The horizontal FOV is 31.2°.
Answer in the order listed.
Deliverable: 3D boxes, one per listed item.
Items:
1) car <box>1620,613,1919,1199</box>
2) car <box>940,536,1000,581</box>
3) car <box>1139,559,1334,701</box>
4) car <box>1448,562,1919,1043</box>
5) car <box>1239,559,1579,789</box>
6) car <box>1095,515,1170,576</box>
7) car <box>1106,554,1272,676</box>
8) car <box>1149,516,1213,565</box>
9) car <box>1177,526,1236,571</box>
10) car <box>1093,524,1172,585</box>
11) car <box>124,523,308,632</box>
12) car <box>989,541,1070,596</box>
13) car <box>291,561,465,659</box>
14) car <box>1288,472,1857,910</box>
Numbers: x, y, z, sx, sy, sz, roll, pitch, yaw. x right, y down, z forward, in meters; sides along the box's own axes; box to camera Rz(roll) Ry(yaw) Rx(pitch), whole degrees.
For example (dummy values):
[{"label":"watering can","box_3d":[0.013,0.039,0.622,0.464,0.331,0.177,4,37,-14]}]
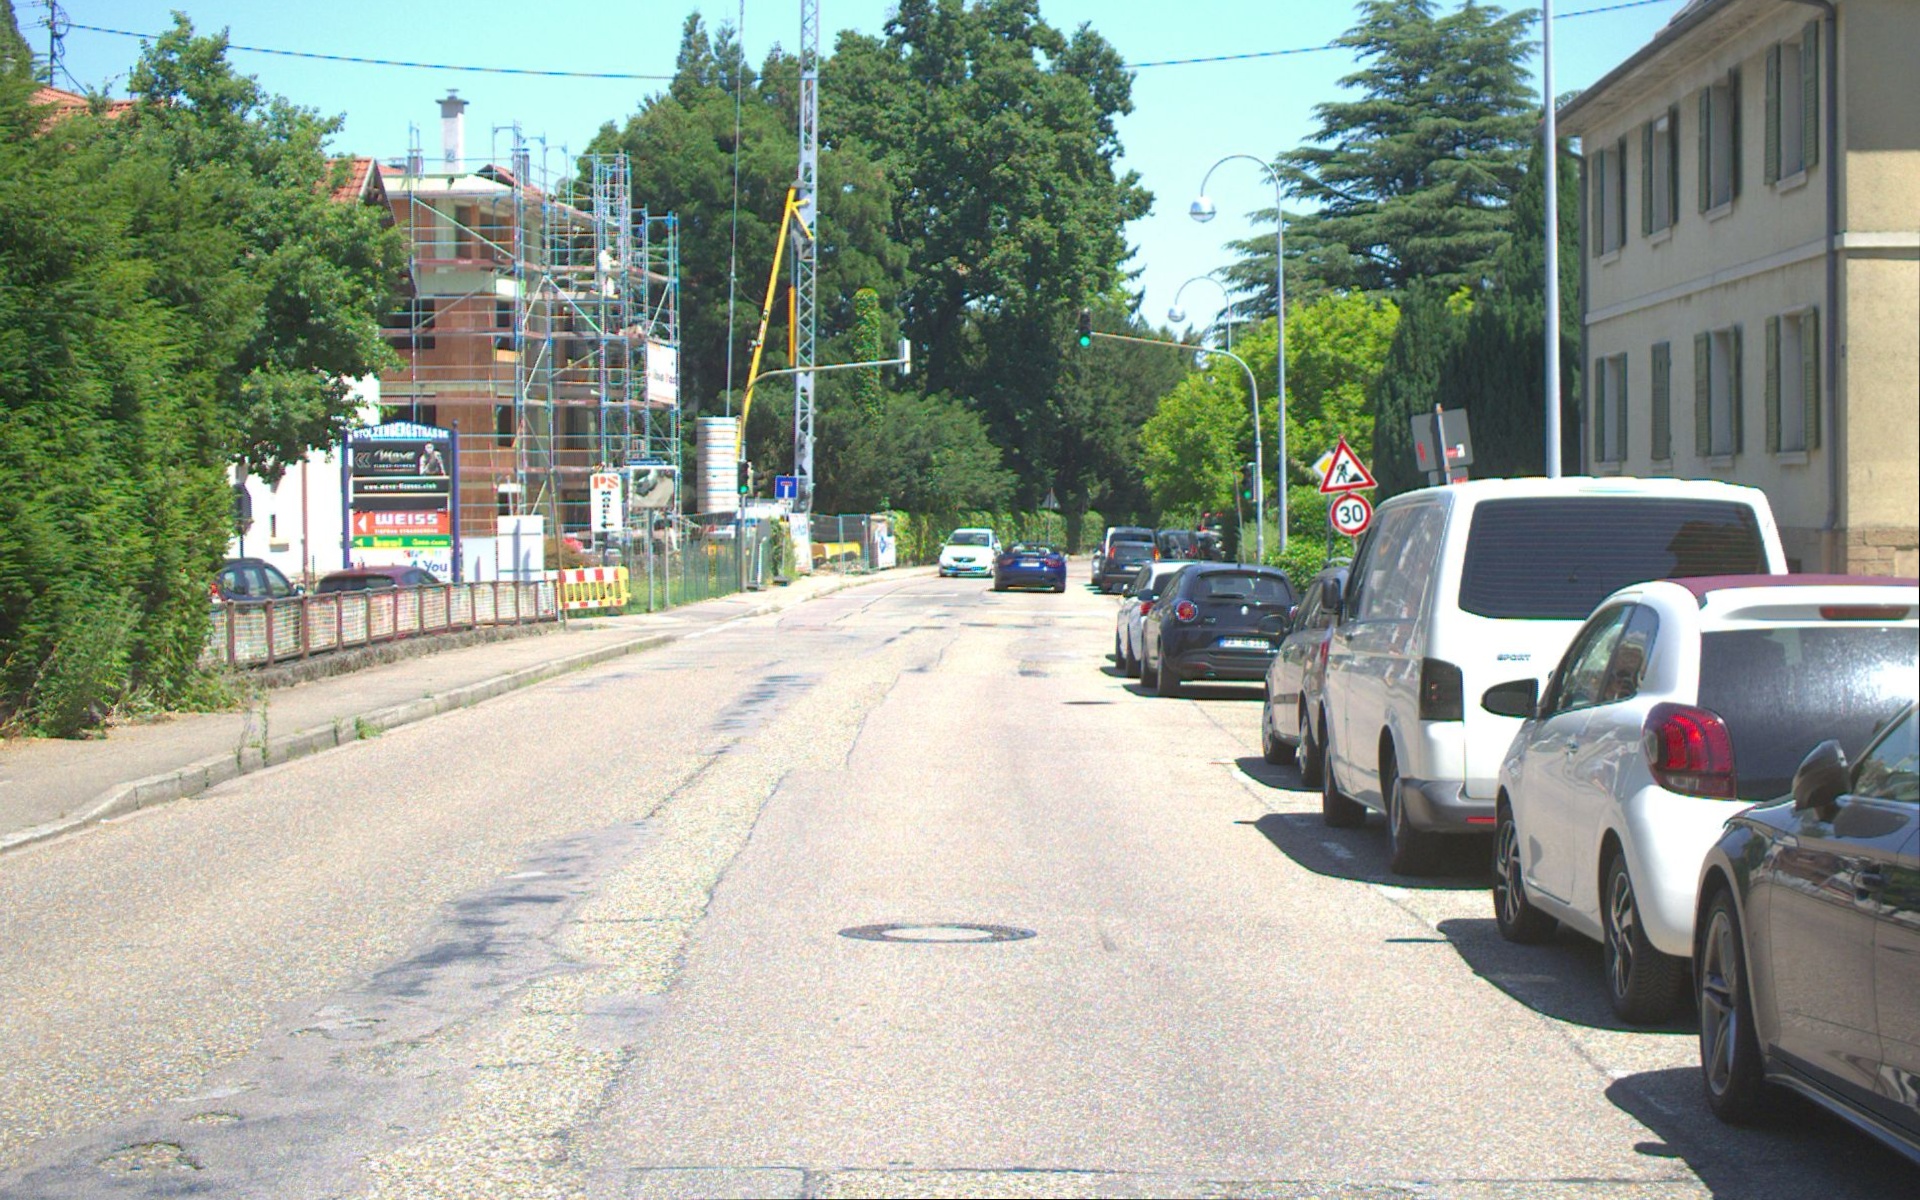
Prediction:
[{"label":"car","box_3d":[2.853,0.768,7.718,1.761,1.366,4.608,0,1,-1]},{"label":"car","box_3d":[0.355,-1.394,114.075,1.761,1.446,3.839,0,1,4]},{"label":"car","box_3d":[2.985,0.292,37.795,1.761,1.446,3.840,0,1,-1]},{"label":"car","box_3d":[2.938,0.606,12.392,1.761,1.446,3.649,0,1,-1]},{"label":"car","box_3d":[3.072,0.453,24.317,1.761,1.446,4.223,0,1,-1]},{"label":"car","box_3d":[4.882,-1.538,96.924,1.994,1.656,4.000,-1,1,4]},{"label":"car","box_3d":[2.850,0.161,43.471,1.761,1.446,3.890,0,1,-1]},{"label":"car","box_3d":[7.721,-2.081,119.952,1.994,1.656,3.999,-1,1,7]},{"label":"car","box_3d":[9.317,-1.944,129.654,1.994,1.656,3.999,-1,1,7]},{"label":"car","box_3d":[4.657,-1.232,92.331,1.994,1.568,4.000,-1,1,4]},{"label":"car","box_3d":[-11.111,-0.350,51.569,1.660,1.570,3.534,-1,1,6]},{"label":"car","box_3d":[1.897,-0.864,92.982,1.958,1.463,4.000,0,1,4]},{"label":"car","box_3d":[-8.648,0.123,51.358,1.660,1.384,3.534,-1,1,6]},{"label":"car","box_3d":[2.979,0.374,17.841,1.993,1.894,4.823,2,1,0]}]
